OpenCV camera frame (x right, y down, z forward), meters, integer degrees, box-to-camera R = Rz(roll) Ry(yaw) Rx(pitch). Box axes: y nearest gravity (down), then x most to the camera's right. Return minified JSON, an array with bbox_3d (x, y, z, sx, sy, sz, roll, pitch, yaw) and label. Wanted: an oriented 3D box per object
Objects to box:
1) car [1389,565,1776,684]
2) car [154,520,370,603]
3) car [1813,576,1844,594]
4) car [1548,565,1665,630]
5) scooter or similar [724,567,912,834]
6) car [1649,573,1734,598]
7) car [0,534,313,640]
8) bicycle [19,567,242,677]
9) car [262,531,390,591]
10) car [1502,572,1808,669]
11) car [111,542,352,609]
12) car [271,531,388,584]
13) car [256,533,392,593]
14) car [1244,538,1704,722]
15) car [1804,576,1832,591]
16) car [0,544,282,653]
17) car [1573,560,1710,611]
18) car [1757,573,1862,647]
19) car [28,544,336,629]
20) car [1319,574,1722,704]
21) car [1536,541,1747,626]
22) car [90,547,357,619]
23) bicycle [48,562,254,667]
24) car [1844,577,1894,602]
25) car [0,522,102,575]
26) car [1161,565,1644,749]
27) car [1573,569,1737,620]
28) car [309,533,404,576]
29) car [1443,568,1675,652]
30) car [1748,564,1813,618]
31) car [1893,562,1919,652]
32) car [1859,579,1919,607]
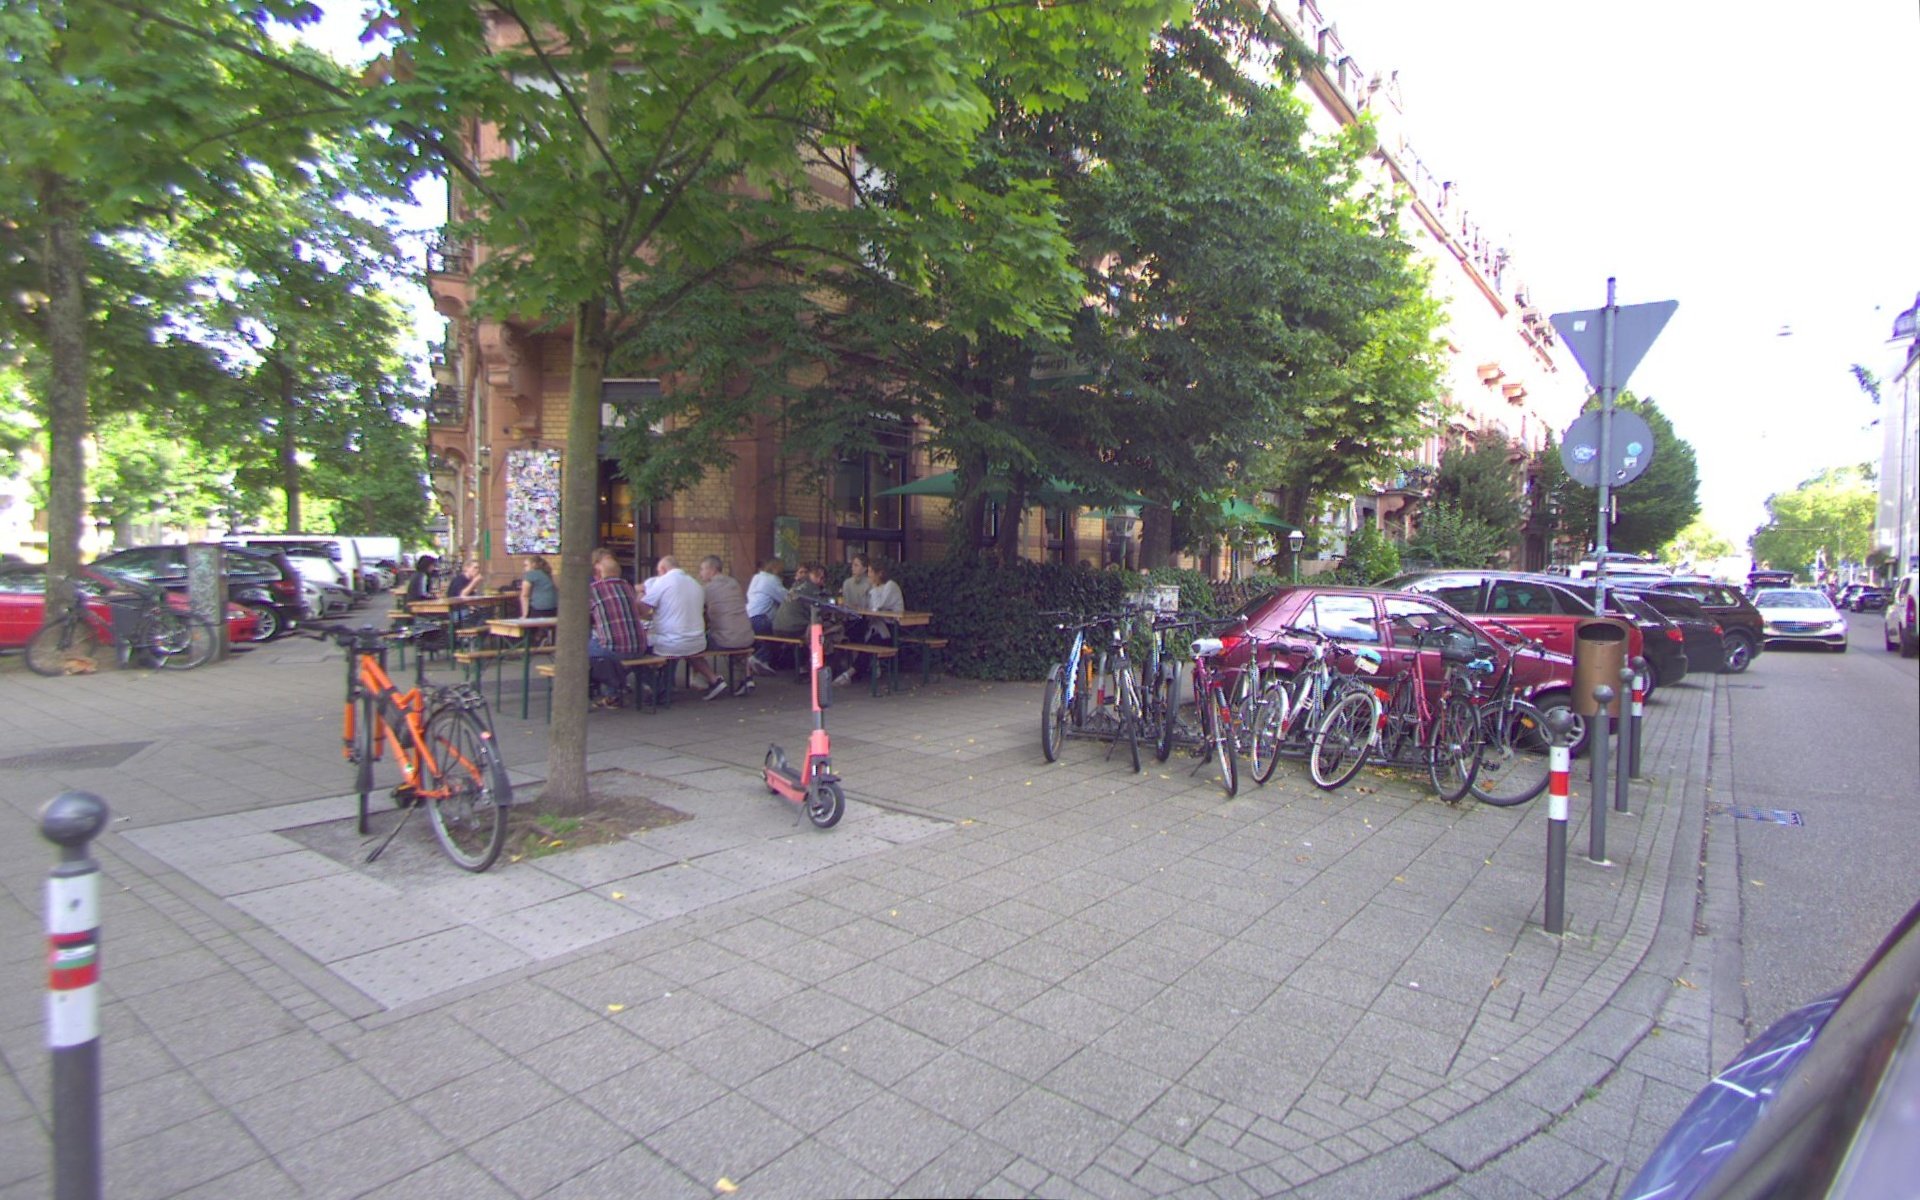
[{"bbox_3d":[9.583,0.312,16.023,4.693,1.475,2.051,3,2,11],"label":"car"},{"bbox_3d":[-17.660,-0.947,25.887,4.336,1.973,2.003,0,2,-28],"label":"car"},{"bbox_3d":[76.233,-1.352,88.887,1.819,1.504,4.114,0,1,38],"label":"car"},{"bbox_3d":[18.928,-0.092,29.719,2.431,1.687,1.342,5,2,12],"label":"car"},{"bbox_3d":[-0.833,0.475,5.647,0.651,1.290,1.251,0,2,-27],"label":"scooter or similar"},{"bbox_3d":[54.883,-1.110,76.002,4.725,1.562,1.868,3,3,6],"label":"car"},{"bbox_3d":[-13.307,-0.227,16.656,4.336,1.571,2.003,0,2,-28],"label":"car"},{"bbox_3d":[-9.192,0.212,11.301,1.812,1.144,0.569,-1,2,-22],"label":"bicycle"},{"bbox_3d":[-24.278,-1.479,38.807,3.930,2.174,1.998,-1,2,-41],"label":"car"},{"bbox_3d":[12.613,0.338,18.584,4.303,1.674,1.876,0,1,0],"label":"car"},{"bbox_3d":[-16.826,-0.565,23.684,4.336,1.433,2.003,0,2,-28],"label":"car"},{"bbox_3d":[-25.586,-1.702,41.106,3.925,2.038,2.000,0,2,-36],"label":"car"},{"bbox_3d":[-22.931,-1.307,36.525,3.930,2.038,1.998,-1,2,-41],"label":"car"},{"bbox_3d":[5.602,0.253,11.661,4.289,1.665,1.815,4,2,13],"label":"car"},{"bbox_3d":[83.703,-1.598,98.799,1.902,1.438,3.946,1,1,38],"label":"car"},{"bbox_3d":[-12.067,-0.060,14.276,3.918,1.404,2.004,0,2,-27],"label":"car"},{"bbox_3d":[28.769,-0.623,42.799,4.628,1.807,1.785,5,2,37],"label":"car"},{"bbox_3d":[20.601,0.201,24.648,1.803,1.652,3.944,-1,0,39],"label":"car"},{"bbox_3d":[-14.412,-0.276,19.124,4.336,1.449,2.003,0,2,-28],"label":"car"},{"bbox_3d":[7.283,0.434,13.685,4.350,1.475,1.935,1,2,14],"label":"car"},{"bbox_3d":[21.253,-0.565,31.758,5.069,2.434,1.916,2,2,6],"label":"car"},{"bbox_3d":[-15.383,-0.364,21.485,4.336,1.388,2.003,0,2,-28],"label":"car"},{"bbox_3d":[-9.360,0.160,11.781,1.812,1.148,0.428,0,3,-22],"label":"bicycle"},{"bbox_3d":[54.240,-0.620,60.450,1.664,1.433,3.963,0,1,34],"label":"car"},{"bbox_3d":[-35.298,-1.901,38.131,1.982,1.859,4.079,-1,1,28],"label":"car"},{"bbox_3d":[3.931,0.439,9.675,3.881,1.475,1.765,1,2,11],"label":"car"},{"bbox_3d":[24.766,-0.226,36.181,4.377,1.754,1.998,0,1,4],"label":"car"},{"bbox_3d":[-30.108,-2.288,50.648,3.919,2.039,2.003,-2,1,-28],"label":"car"},{"bbox_3d":[12.256,0.172,20.891,3.649,1.503,1.742,2,2,1],"label":"car"},{"bbox_3d":[31.173,-0.350,38.483,1.803,1.950,3.944,-1,0,39],"label":"car"},{"bbox_3d":[21.818,0.113,22.084,1.915,1.851,4.374,1,1,40],"label":"car"},{"bbox_3d":[48.349,-0.405,52.706,1.807,1.368,5.048,1,2,37],"label":"car"}]
